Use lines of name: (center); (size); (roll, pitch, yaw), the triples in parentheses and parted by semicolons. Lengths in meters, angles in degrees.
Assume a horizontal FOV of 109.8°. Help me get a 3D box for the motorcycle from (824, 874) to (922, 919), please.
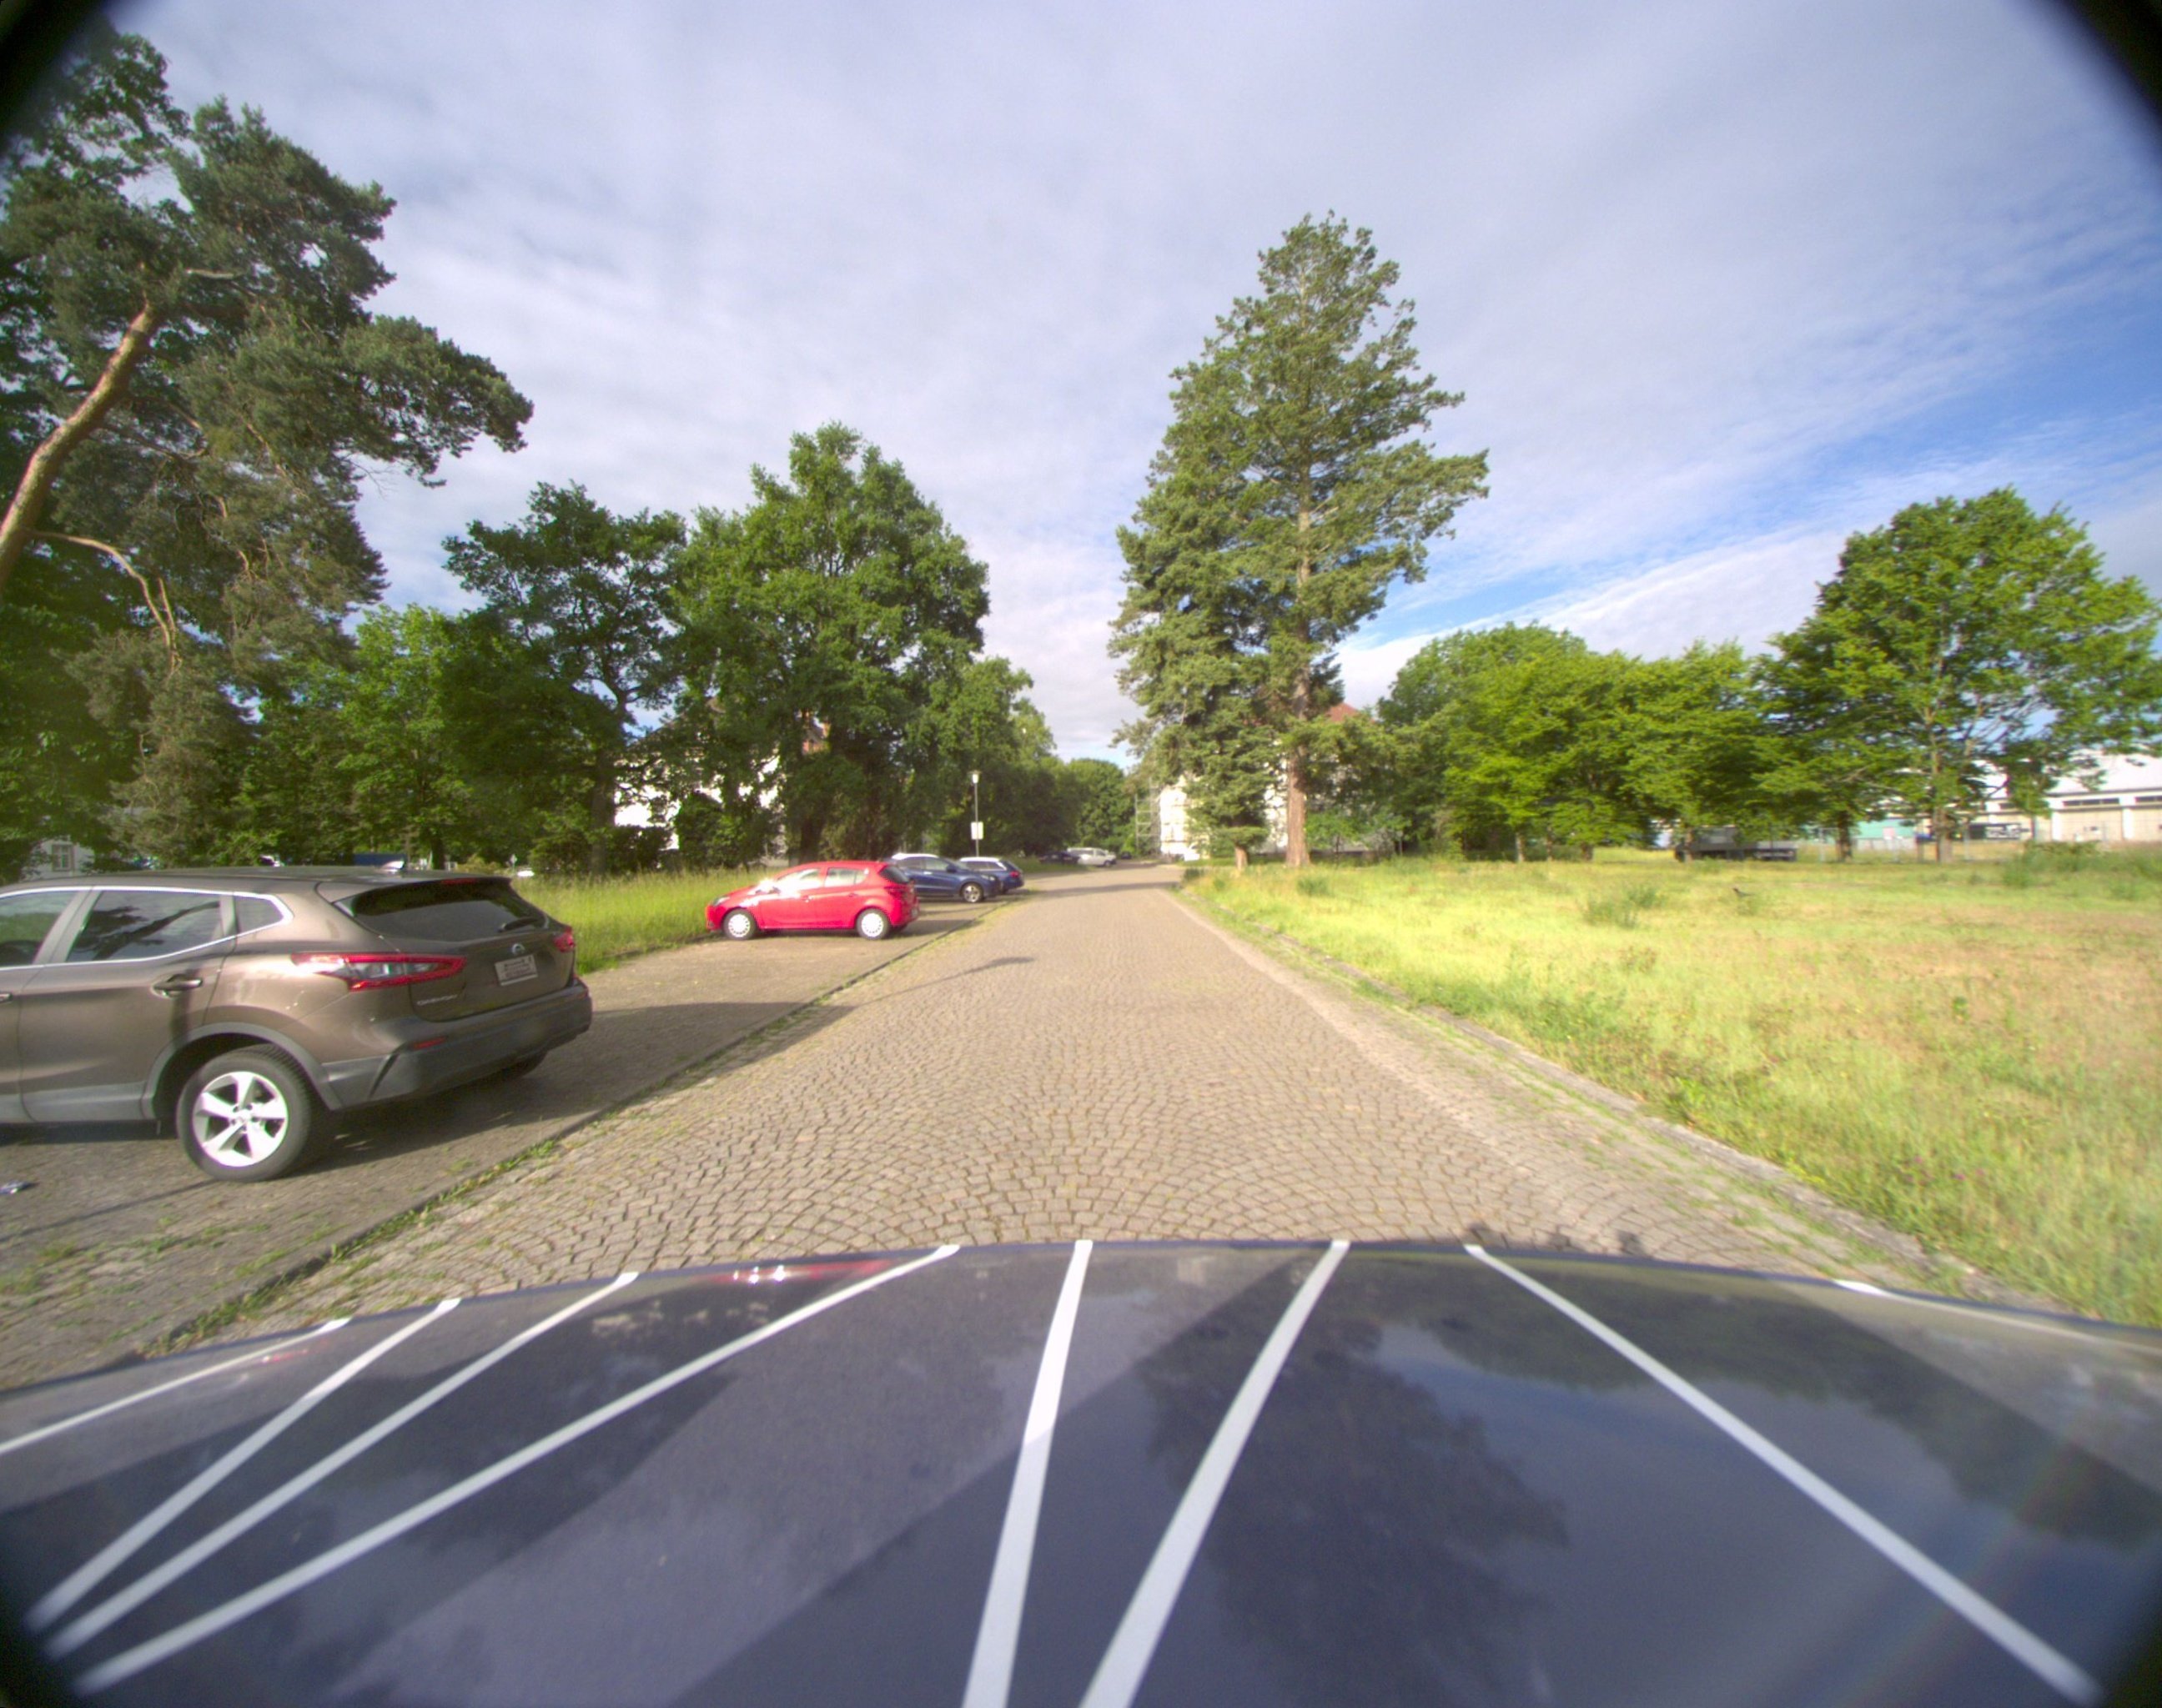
motorcycle: (-5.302, 1.083, 19.419); (2.306, 1.107, 0.607); (0, 2, 4)

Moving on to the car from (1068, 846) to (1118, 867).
car: (1.276, 0.232, 78.616); (5.078, 2.029, 2.000); (-2, 0, 2)

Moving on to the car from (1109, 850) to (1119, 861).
car: (6.336, 0.297, 144.593); (1.874, 1.888, 4.000); (-1, 1, 2)

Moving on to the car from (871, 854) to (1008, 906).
car: (-4.609, 0.830, 25.130); (4.135, 1.560, 1.746); (-1, 1, 1)

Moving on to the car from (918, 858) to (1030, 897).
car: (-4.148, 0.904, 29.817); (4.034, 1.442, 1.783); (-1, 1, 4)

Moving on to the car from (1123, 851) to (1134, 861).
car: (9.071, 0.285, 144.723); (1.998, 1.762, 4.109); (-1, 1, 2)

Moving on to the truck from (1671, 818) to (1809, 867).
truck: (38.274, -0.613, 44.496); (2.417, 2.572, 6.960); (-1, 0, 5)

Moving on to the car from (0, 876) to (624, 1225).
car: (-5.455, 0.991, 4.598); (4.201, 1.580, 1.878); (-1, 1, 1)

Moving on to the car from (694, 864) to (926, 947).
car: (-5.174, 0.970, 14.858); (3.886, 1.464, 1.687); (0, 1, 1)
